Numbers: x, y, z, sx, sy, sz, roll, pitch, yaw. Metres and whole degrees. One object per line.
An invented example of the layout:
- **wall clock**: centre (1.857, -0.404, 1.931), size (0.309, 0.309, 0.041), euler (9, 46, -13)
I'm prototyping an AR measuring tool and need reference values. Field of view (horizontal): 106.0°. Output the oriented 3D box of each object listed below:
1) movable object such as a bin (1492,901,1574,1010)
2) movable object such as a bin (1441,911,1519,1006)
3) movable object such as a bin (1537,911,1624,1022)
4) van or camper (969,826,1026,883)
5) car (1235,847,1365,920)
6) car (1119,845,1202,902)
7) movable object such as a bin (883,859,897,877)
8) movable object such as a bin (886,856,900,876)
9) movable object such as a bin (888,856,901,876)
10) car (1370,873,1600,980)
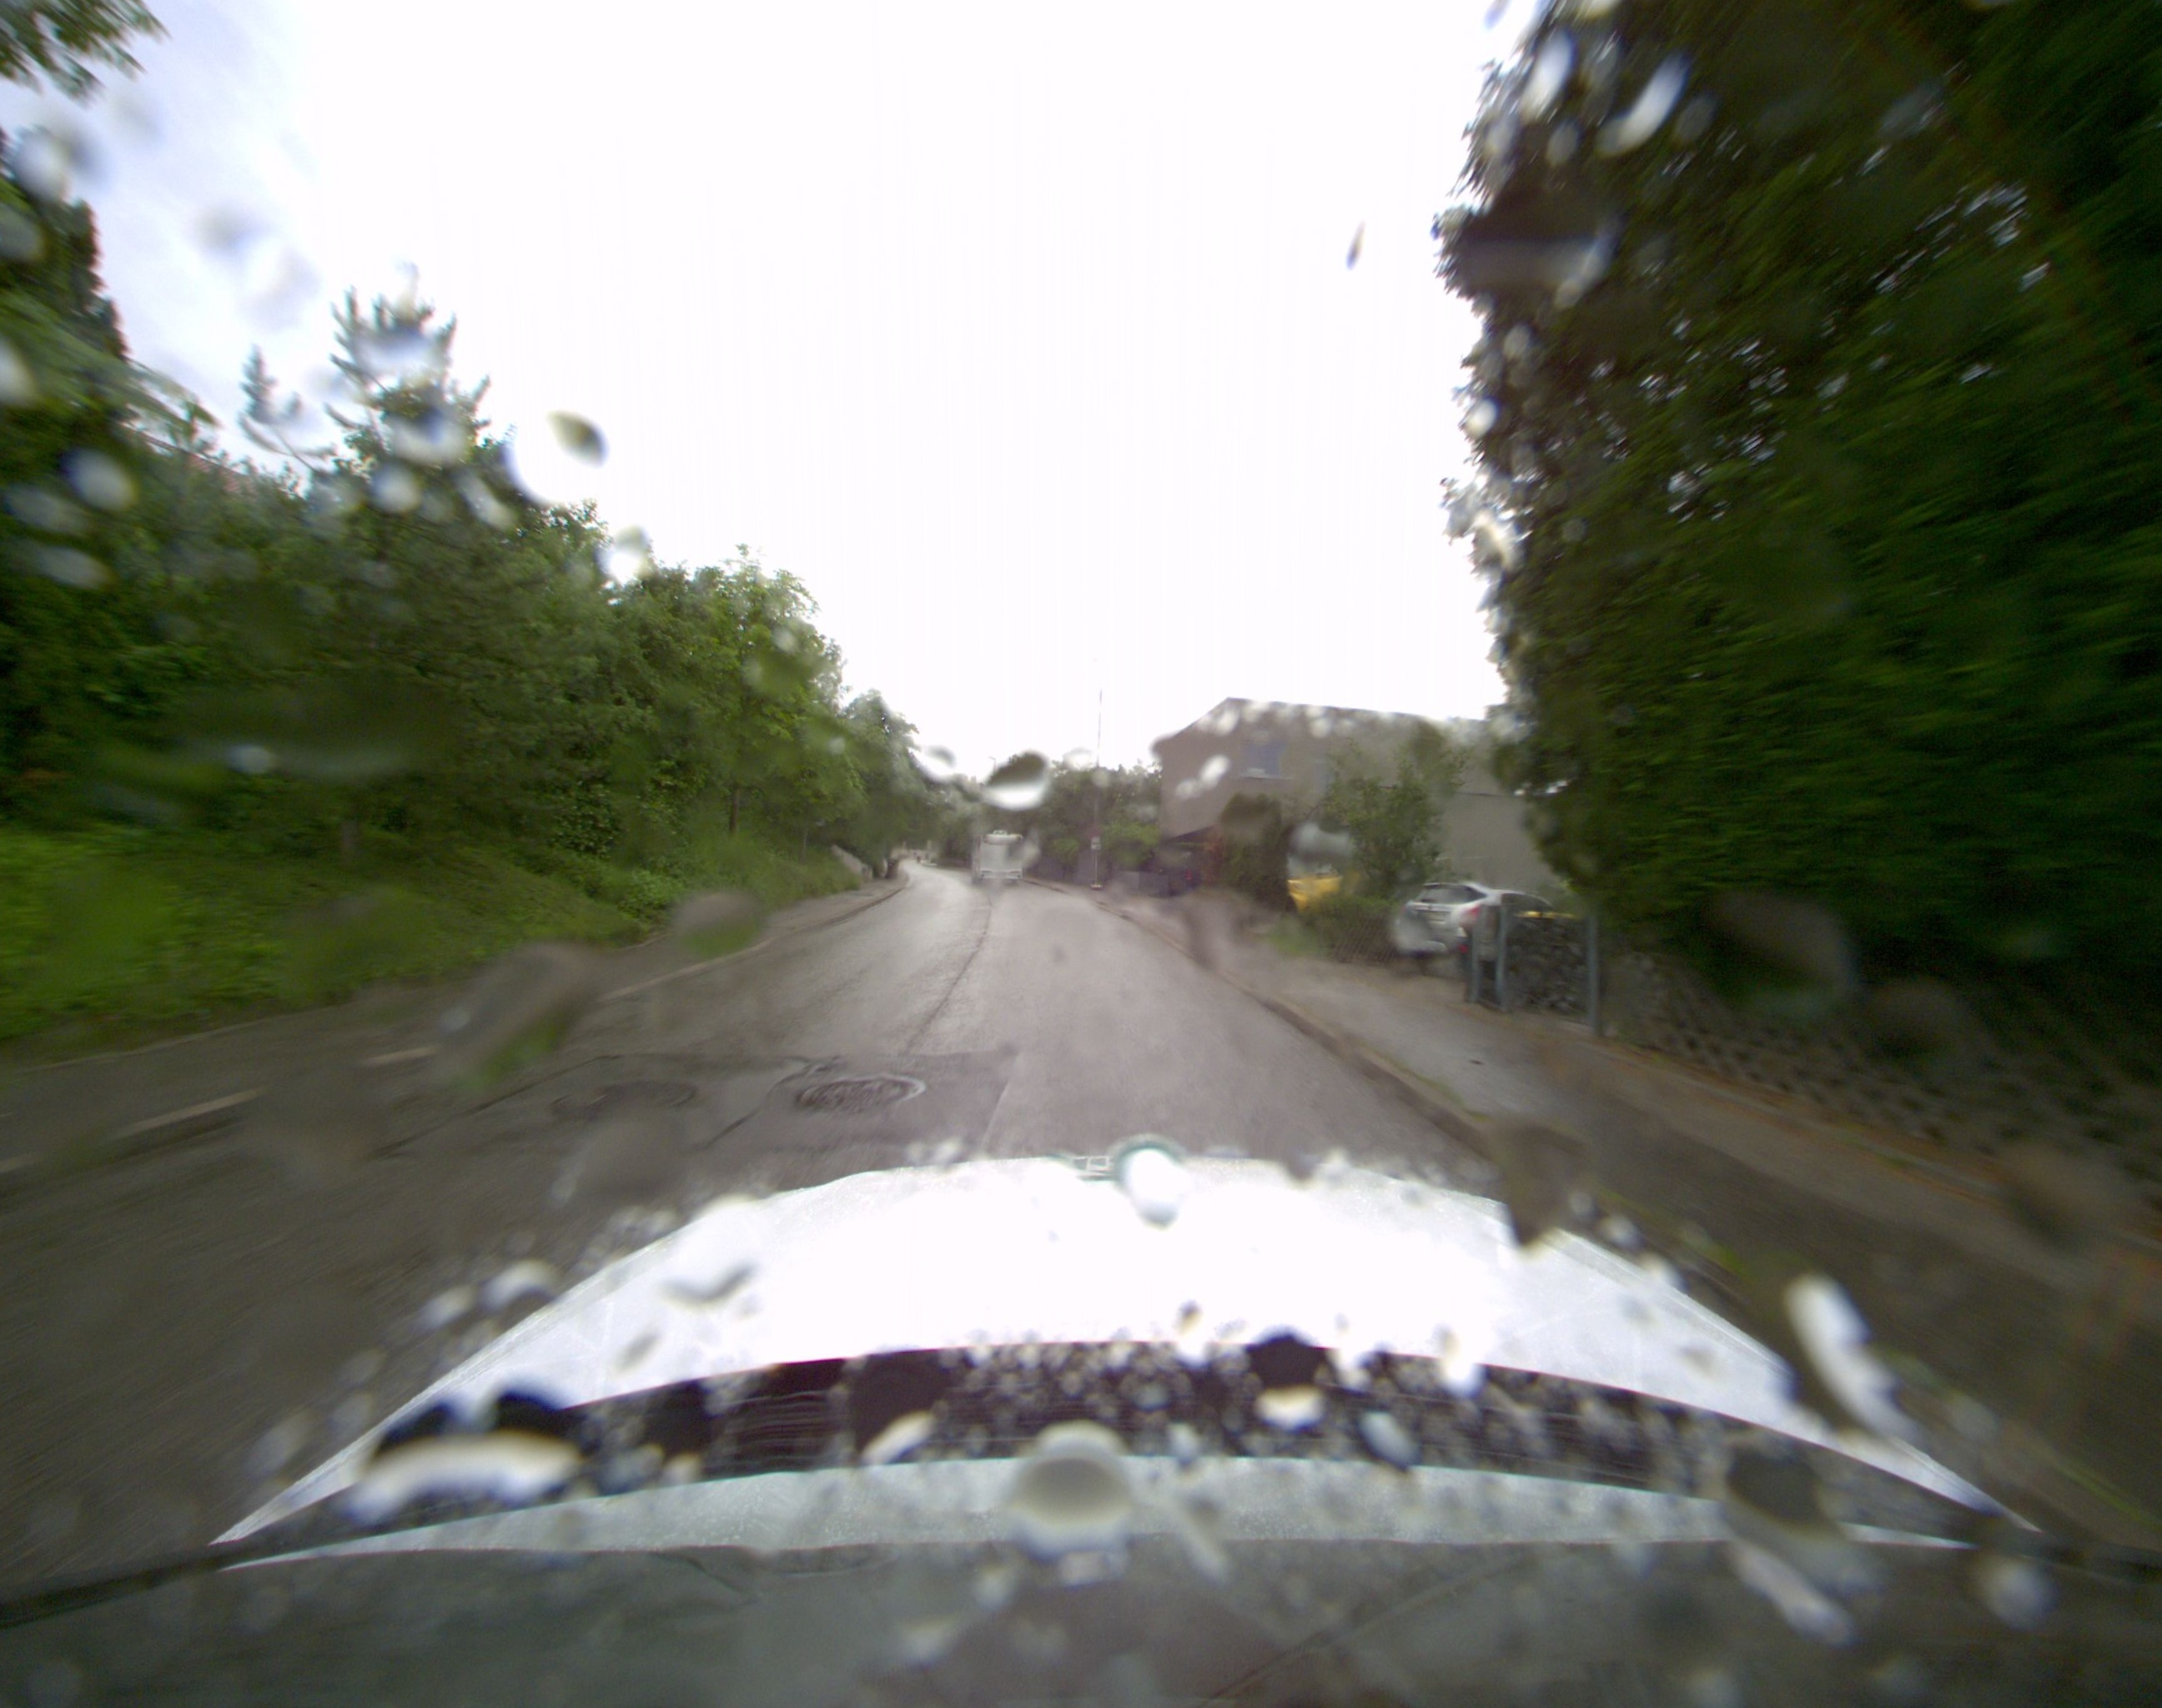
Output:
- **movable object such as a bin**: centre (5.031, 1.112, 9.083), size (0.503, 1.117, 0.593), euler (4, -1, -5)
- **movable object such as a bin**: centre (4.460, 1.156, 9.133), size (0.503, 0.969, 0.593), euler (4, -1, -5)
- **movable object such as a bin**: centre (5.567, 1.239, 9.102), size (0.521, 1.138, 0.593), euler (4, -1, -5)
- **van or camper**: centre (-4.736, 0.083, 45.221), size (2.542, 2.925, 5.923), euler (0, -1, -12)
- **car**: centre (5.177, 0.677, 19.730), size (1.629, 1.493, 3.413), euler (-5, 0, -11)
- **car**: centre (2.888, 0.809, 30.760), size (1.993, 1.941, 4.756), euler (1, -3, -10)
- **movable object such as a bin**: centre (-10.261, 0.738, 43.741), size (0.648, 0.911, 0.670), euler (2, -1, -11)
- **movable object such as a bin**: centre (-10.276, 0.664, 44.549), size (0.648, 1.081, 0.670), euler (2, -1, -11)
- **movable object such as a bin**: centre (-10.344, 0.660, 45.215), size (0.648, 1.104, 0.670), euler (2, -1, -11)
- **car**: centre (7.140, 1.204, 14.358), size (3.784, 1.661, 1.759), euler (1, -4, -29)
